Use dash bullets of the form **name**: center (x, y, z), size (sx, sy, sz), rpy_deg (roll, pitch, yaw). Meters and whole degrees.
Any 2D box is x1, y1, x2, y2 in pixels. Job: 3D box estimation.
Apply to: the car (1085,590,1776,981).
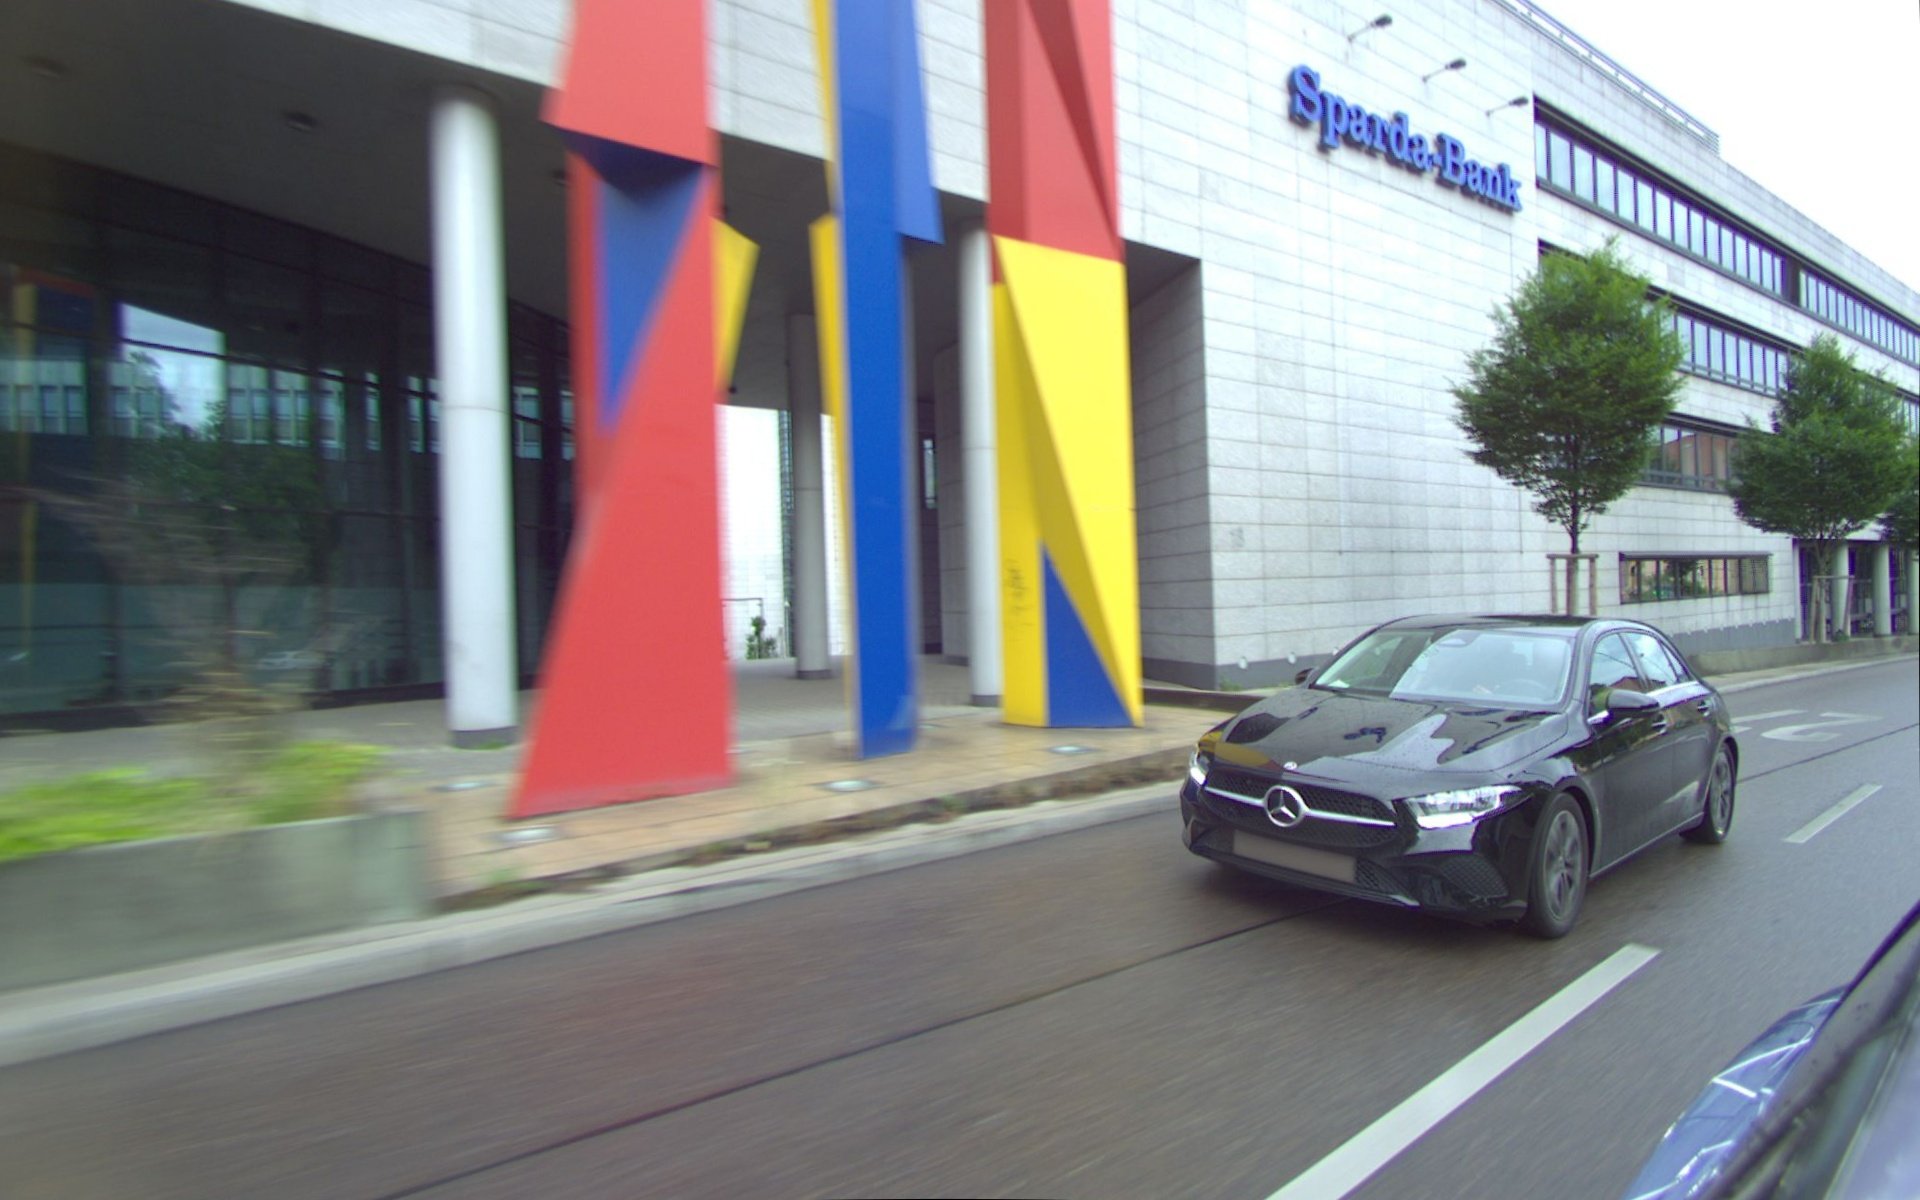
- **car**: center (2.852, 0.699, 5.774), size (4.127, 1.455, 1.877), rpy_deg (0, 0, -37)
